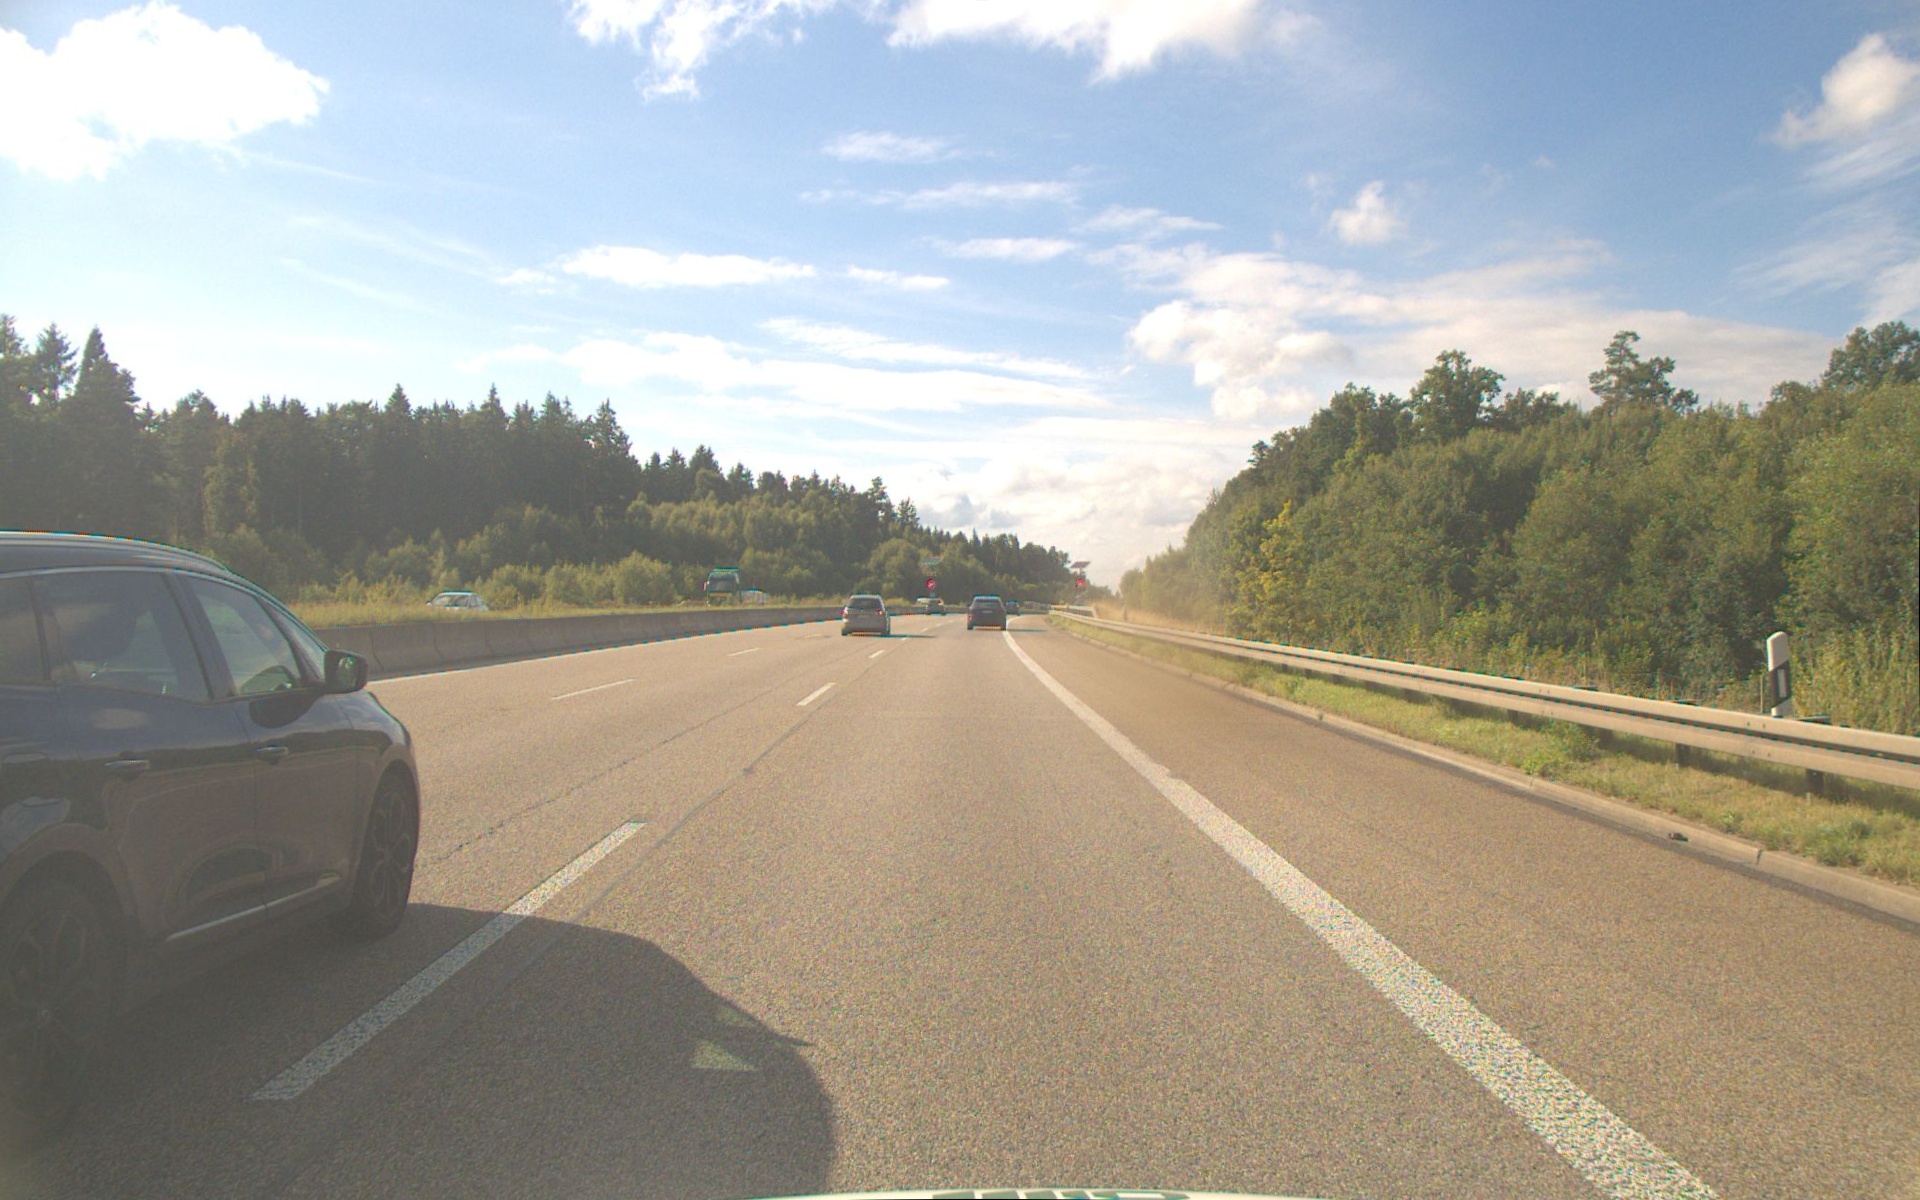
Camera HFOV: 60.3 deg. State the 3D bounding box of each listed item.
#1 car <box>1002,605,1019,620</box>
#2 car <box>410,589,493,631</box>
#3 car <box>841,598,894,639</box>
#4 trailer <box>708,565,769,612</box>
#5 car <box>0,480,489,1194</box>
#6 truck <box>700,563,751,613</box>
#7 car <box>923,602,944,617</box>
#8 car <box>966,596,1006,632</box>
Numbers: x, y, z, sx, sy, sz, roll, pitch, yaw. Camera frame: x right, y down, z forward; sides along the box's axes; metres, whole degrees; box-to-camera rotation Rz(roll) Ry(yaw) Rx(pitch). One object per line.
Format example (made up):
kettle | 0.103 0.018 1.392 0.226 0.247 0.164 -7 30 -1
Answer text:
car | 5.809 1.412 191.398 1.774 1.736 4.002 0 0 4
car | -18.649 0.346 60.843 1.803 1.482 4.000 1 0 0
car | -3.570 0.701 64.519 1.835 1.523 3.879 1 0 0
trailer | -19.835 -0.982 149.269 3.305 4.079 13.642 1 0 1
car | -3.335 0.561 6.081 1.953 1.736 4.528 1 0 -1
truck | -20.008 -1.004 141.445 3.306 4.079 5.864 1 0 1
car | -2.735 0.948 170.898 1.834 1.523 3.882 1 0 5
car | 1.248 0.652 81.670 1.836 1.704 3.889 1 0 -1
